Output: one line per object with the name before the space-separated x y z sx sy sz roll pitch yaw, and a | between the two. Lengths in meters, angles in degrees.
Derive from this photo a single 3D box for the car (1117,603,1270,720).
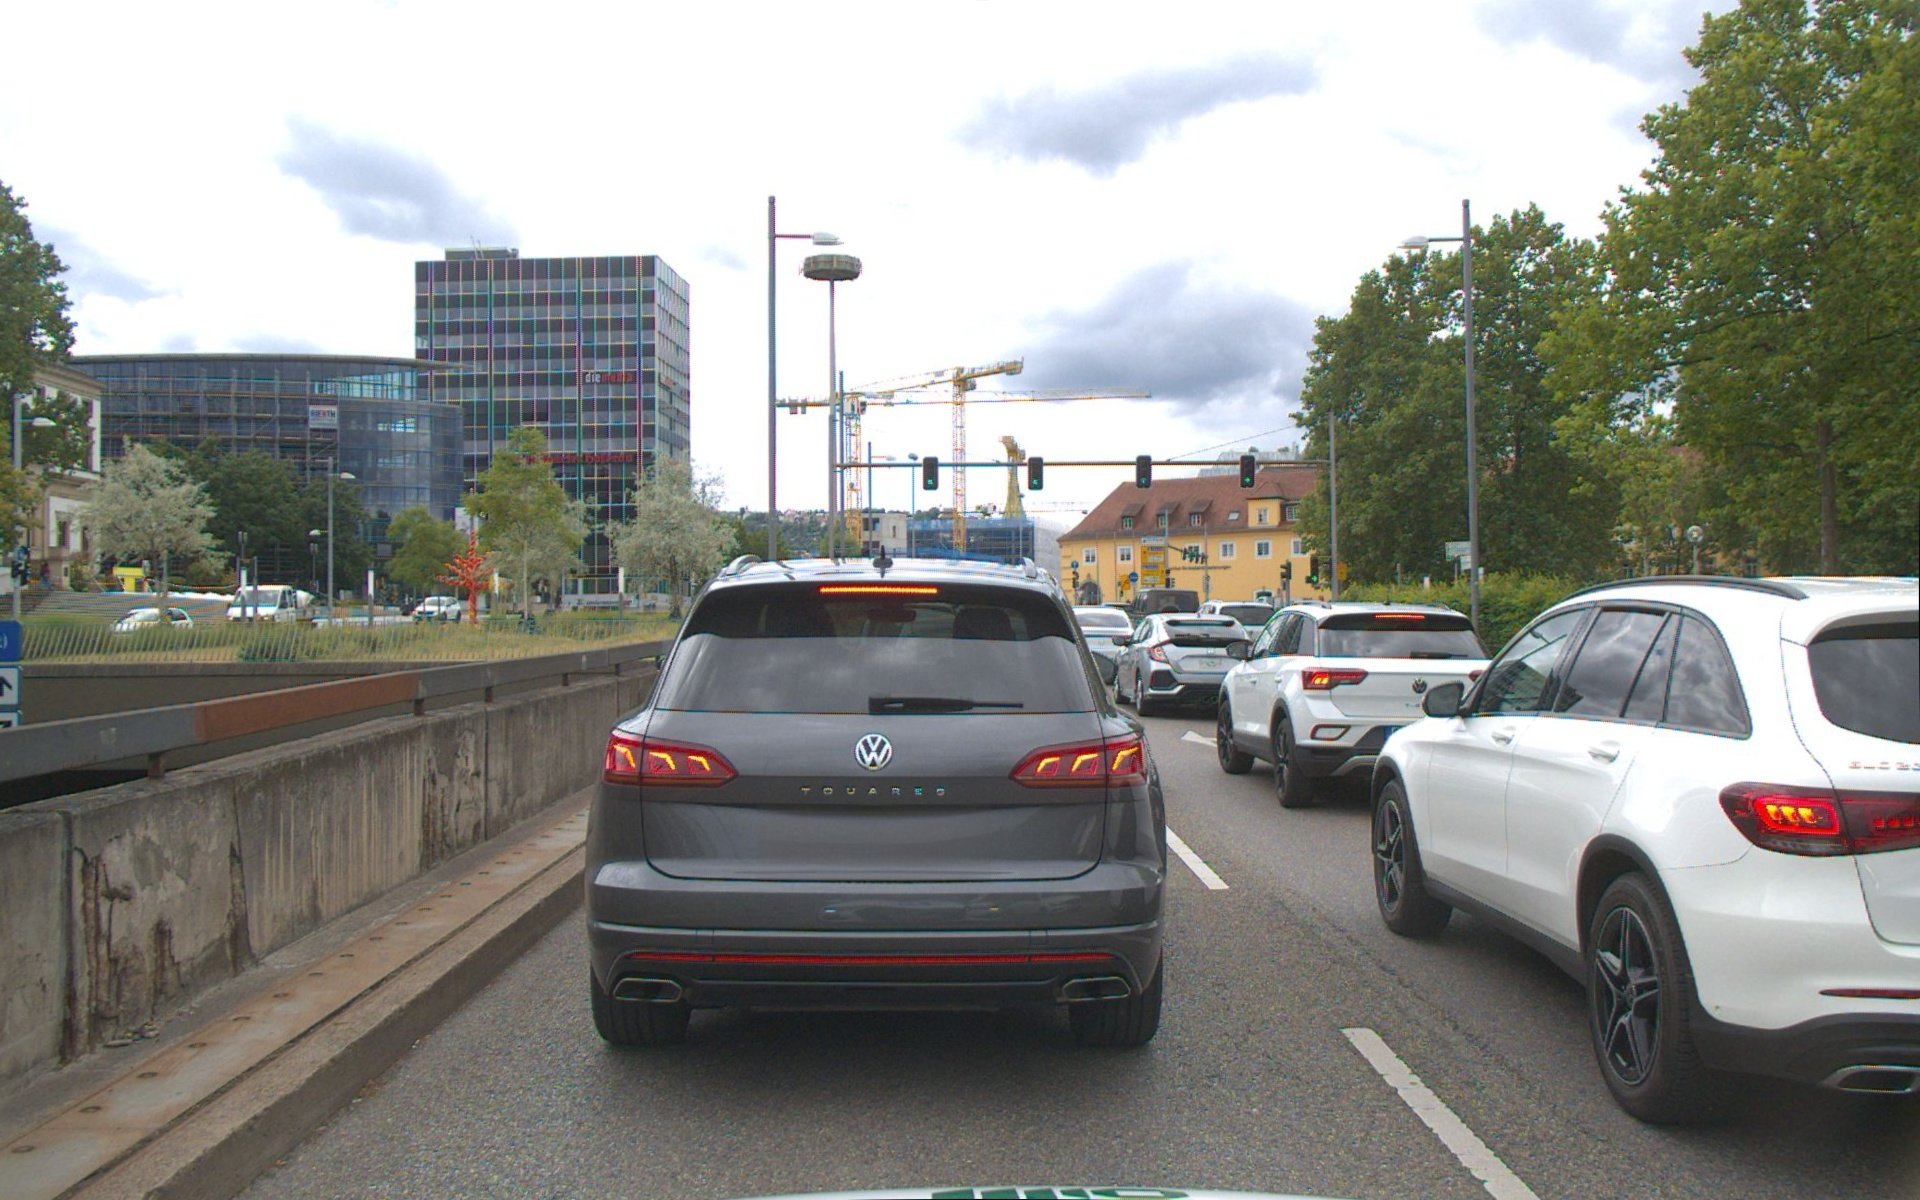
car | 3.322 0.827 24.204 1.683 1.529 4.144 0 0 0

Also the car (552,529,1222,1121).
car | -0.232 0.632 6.705 1.893 1.676 3.999 0 0 -1

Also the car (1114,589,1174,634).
car | 6.450 0.376 58.207 1.683 1.529 3.981 0 0 0

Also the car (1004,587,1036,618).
car | 4.055 0.144 112.145 1.953 2.049 3.999 0 0 -1

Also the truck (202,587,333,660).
truck | -28.651 0.894 68.722 2.413 2.865 7.079 0 1 0

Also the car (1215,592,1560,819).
car | 3.368 0.751 13.793 1.855 1.613 3.800 0 0 -1

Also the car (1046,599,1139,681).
car | 2.637 0.766 33.633 1.683 1.529 3.982 0 0 2

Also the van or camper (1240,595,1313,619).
van or camper | 27.295 0.626 142.662 5.902 2.049 2.012 0 -1 35

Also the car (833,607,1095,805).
car | 0.001 0.803 14.340 1.953 1.411 3.999 0 1 -1

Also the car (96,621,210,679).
car | -28.232 1.705 57.992 1.953 1.847 4.257 0 1 -1

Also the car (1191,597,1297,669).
car | 6.454 0.711 37.950 1.766 1.529 3.981 0 0 0

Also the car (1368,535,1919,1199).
car | 2.964 0.673 6.245 1.781 1.676 4.379 0 0 0

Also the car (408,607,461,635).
car | -31.967 1.269 100.717 1.683 1.602 4.613 0 1 0

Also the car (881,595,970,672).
car | -0.721 0.668 35.187 1.777 1.522 3.905 0 0 -1

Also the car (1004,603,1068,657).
car | 2.578 0.992 56.312 2.094 1.758 4.071 0 0 2

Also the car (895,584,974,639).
car | -0.708 0.298 48.622 2.198 1.529 4.611 0 0 0

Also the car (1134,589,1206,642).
car | 6.251 0.435 49.629 1.683 1.529 3.981 0 0 0

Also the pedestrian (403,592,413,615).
pedestrian | -39.706 0.260 118.912 0.513 1.678 0.650 1 -1 -2

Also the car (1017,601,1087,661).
car | 2.480 0.812 45.193 1.683 1.529 3.981 0 0 0
